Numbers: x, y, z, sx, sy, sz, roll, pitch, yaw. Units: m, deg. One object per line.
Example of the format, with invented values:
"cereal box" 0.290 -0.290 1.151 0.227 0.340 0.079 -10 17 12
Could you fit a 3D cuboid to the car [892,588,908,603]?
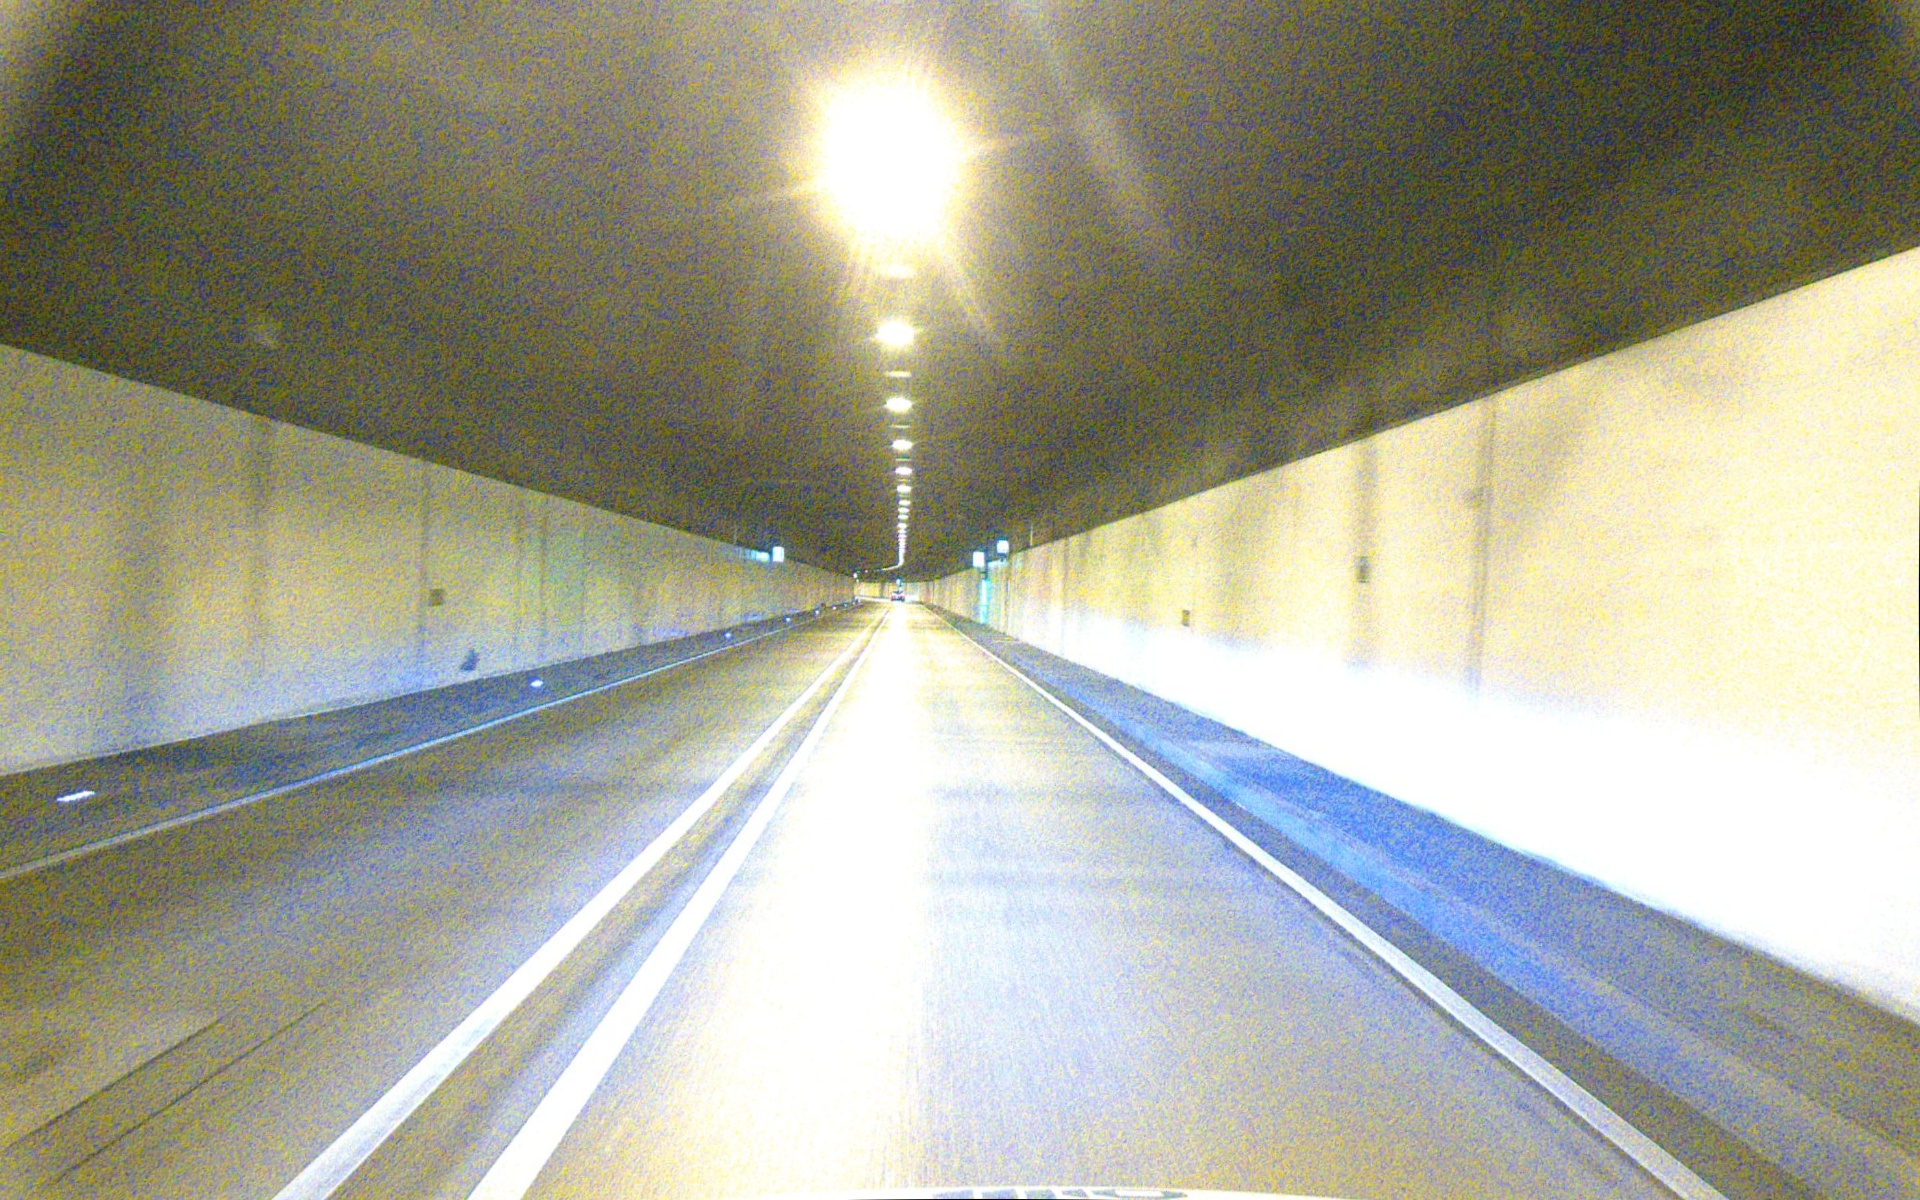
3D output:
"car" -8.405 -0.603 231.446 1.929 1.973 4.606 2 0 -7
